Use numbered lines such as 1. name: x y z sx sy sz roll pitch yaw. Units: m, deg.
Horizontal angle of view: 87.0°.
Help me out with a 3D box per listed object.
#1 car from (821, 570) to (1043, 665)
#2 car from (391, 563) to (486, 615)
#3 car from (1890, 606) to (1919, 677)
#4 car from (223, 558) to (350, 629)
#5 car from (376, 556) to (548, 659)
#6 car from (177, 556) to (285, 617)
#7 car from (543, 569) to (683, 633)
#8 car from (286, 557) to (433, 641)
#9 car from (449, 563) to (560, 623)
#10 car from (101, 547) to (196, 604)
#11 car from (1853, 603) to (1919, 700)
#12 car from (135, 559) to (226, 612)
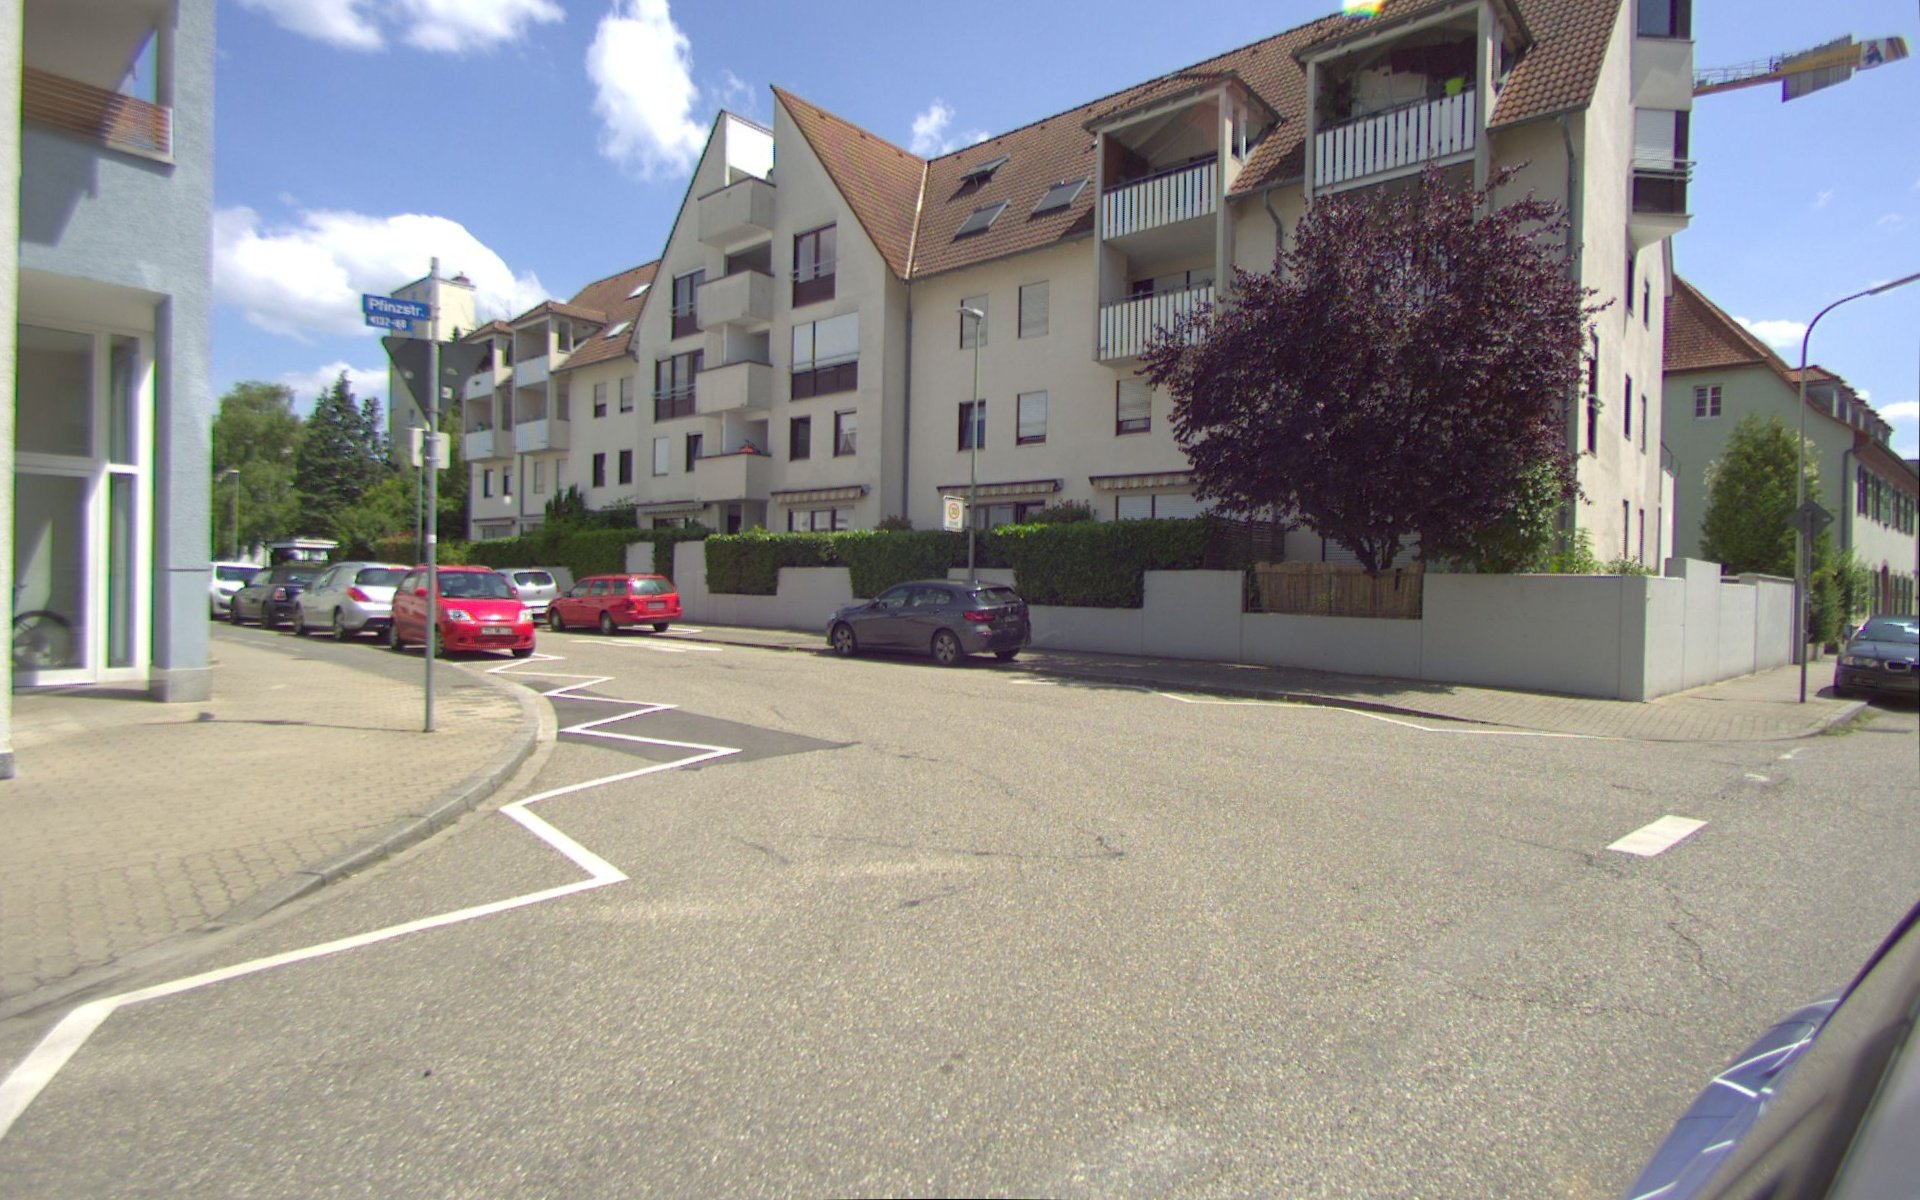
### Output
1. car: -0.594 0.241 18.501 3.985 1.486 1.712 3 2 42
2. car: -16.801 -0.360 32.530 3.772 1.577 1.512 2 1 43
3. car: 20.485 0.850 20.838 3.756 1.370 1.588 0 3 -42
4. car: -15.543 -0.177 23.291 3.773 1.485 1.628 2 1 44
5. car: -8.529 0.074 17.206 3.508 1.560 1.570 2 1 45
6. car: -18.921 -0.366 26.229 3.571 1.485 1.628 2 1 43
7. car: -8.711 -0.022 25.281 3.769 1.485 1.630 1 1 40
8. car: -11.814 -0.058 19.824 3.773 1.485 1.512 2 1 44
9. car: -13.018 -0.227 28.825 3.772 1.577 1.512 2 1 43
10. car: -27.111 -0.787 33.782 3.987 1.776 1.969 1 0 44
11. car: 15.554 0.768 16.160 4.170 1.393 1.657 0 1 -45
12. car: -23.282 -0.436 30.185 3.571 1.485 1.628 2 1 43
